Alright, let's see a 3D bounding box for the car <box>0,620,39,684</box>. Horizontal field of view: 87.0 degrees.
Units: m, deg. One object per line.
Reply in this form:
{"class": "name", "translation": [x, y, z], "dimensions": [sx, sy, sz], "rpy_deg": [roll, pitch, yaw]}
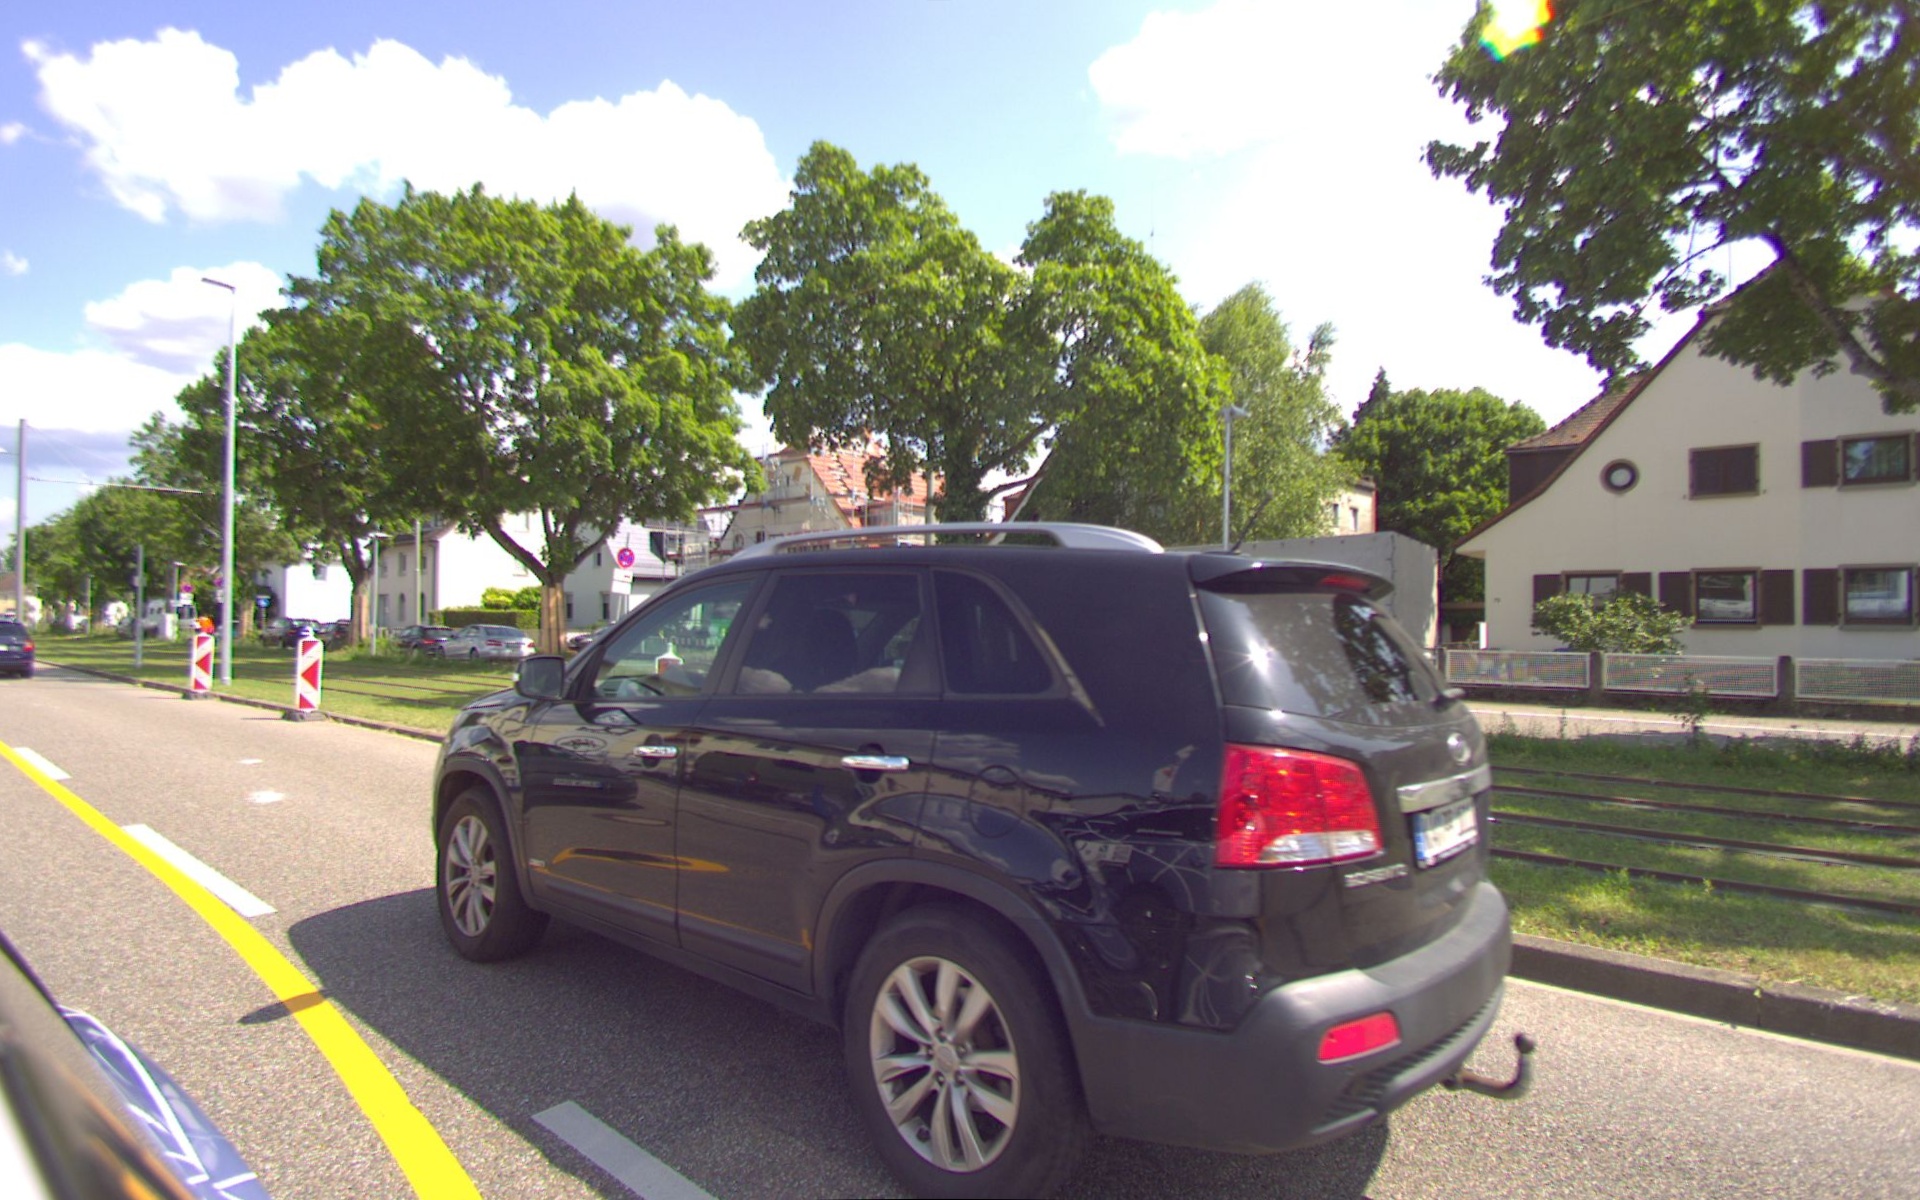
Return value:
{"class": "car", "translation": [-24.434, 1.239, 25.106], "dimensions": [4.532, 1.498, 1.693], "rpy_deg": [-1, -3, 40]}

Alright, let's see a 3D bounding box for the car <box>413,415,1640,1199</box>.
{"class": "car", "translation": [-0.173, 0.621, 3.687], "dimensions": [4.218, 1.703, 1.778], "rpy_deg": [-1, -3, 41]}

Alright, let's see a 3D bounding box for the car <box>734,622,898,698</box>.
{"class": "car", "translation": [-3.405, 1.325, 23.546], "dimensions": [3.929, 1.524, 1.651], "rpy_deg": [0, 0, 41]}

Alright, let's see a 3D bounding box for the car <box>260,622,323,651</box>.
{"class": "car", "translation": [-32.892, 1.770, 49.744], "dimensions": [3.999, 1.311, 1.615], "rpy_deg": [0, 0, 42]}

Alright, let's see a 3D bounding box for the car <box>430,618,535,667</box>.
{"class": "car", "translation": [-16.712, 1.447, 35.333], "dimensions": [4.522, 1.524, 1.685], "rpy_deg": [0, 0, 41]}

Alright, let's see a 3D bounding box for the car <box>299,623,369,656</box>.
{"class": "car", "translation": [-28.371, 1.751, 45.804], "dimensions": [3.999, 1.311, 1.615], "rpy_deg": [0, 0, 42]}

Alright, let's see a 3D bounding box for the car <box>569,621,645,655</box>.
{"class": "car", "translation": [-15.843, 1.690, 45.502], "dimensions": [3.190, 1.393, 1.492], "rpy_deg": [-1, 0, -19]}

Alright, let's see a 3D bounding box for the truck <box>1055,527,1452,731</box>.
{"class": "truck", "translation": [4.696, 0.406, 16.919], "dimensions": [5.949, 2.826, 2.340], "rpy_deg": [0, 0, 42]}

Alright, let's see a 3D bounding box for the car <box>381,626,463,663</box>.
{"class": "car", "translation": [-20.919, 1.694, 39.308], "dimensions": [3.786, 1.251, 1.603], "rpy_deg": [0, 0, 42]}
